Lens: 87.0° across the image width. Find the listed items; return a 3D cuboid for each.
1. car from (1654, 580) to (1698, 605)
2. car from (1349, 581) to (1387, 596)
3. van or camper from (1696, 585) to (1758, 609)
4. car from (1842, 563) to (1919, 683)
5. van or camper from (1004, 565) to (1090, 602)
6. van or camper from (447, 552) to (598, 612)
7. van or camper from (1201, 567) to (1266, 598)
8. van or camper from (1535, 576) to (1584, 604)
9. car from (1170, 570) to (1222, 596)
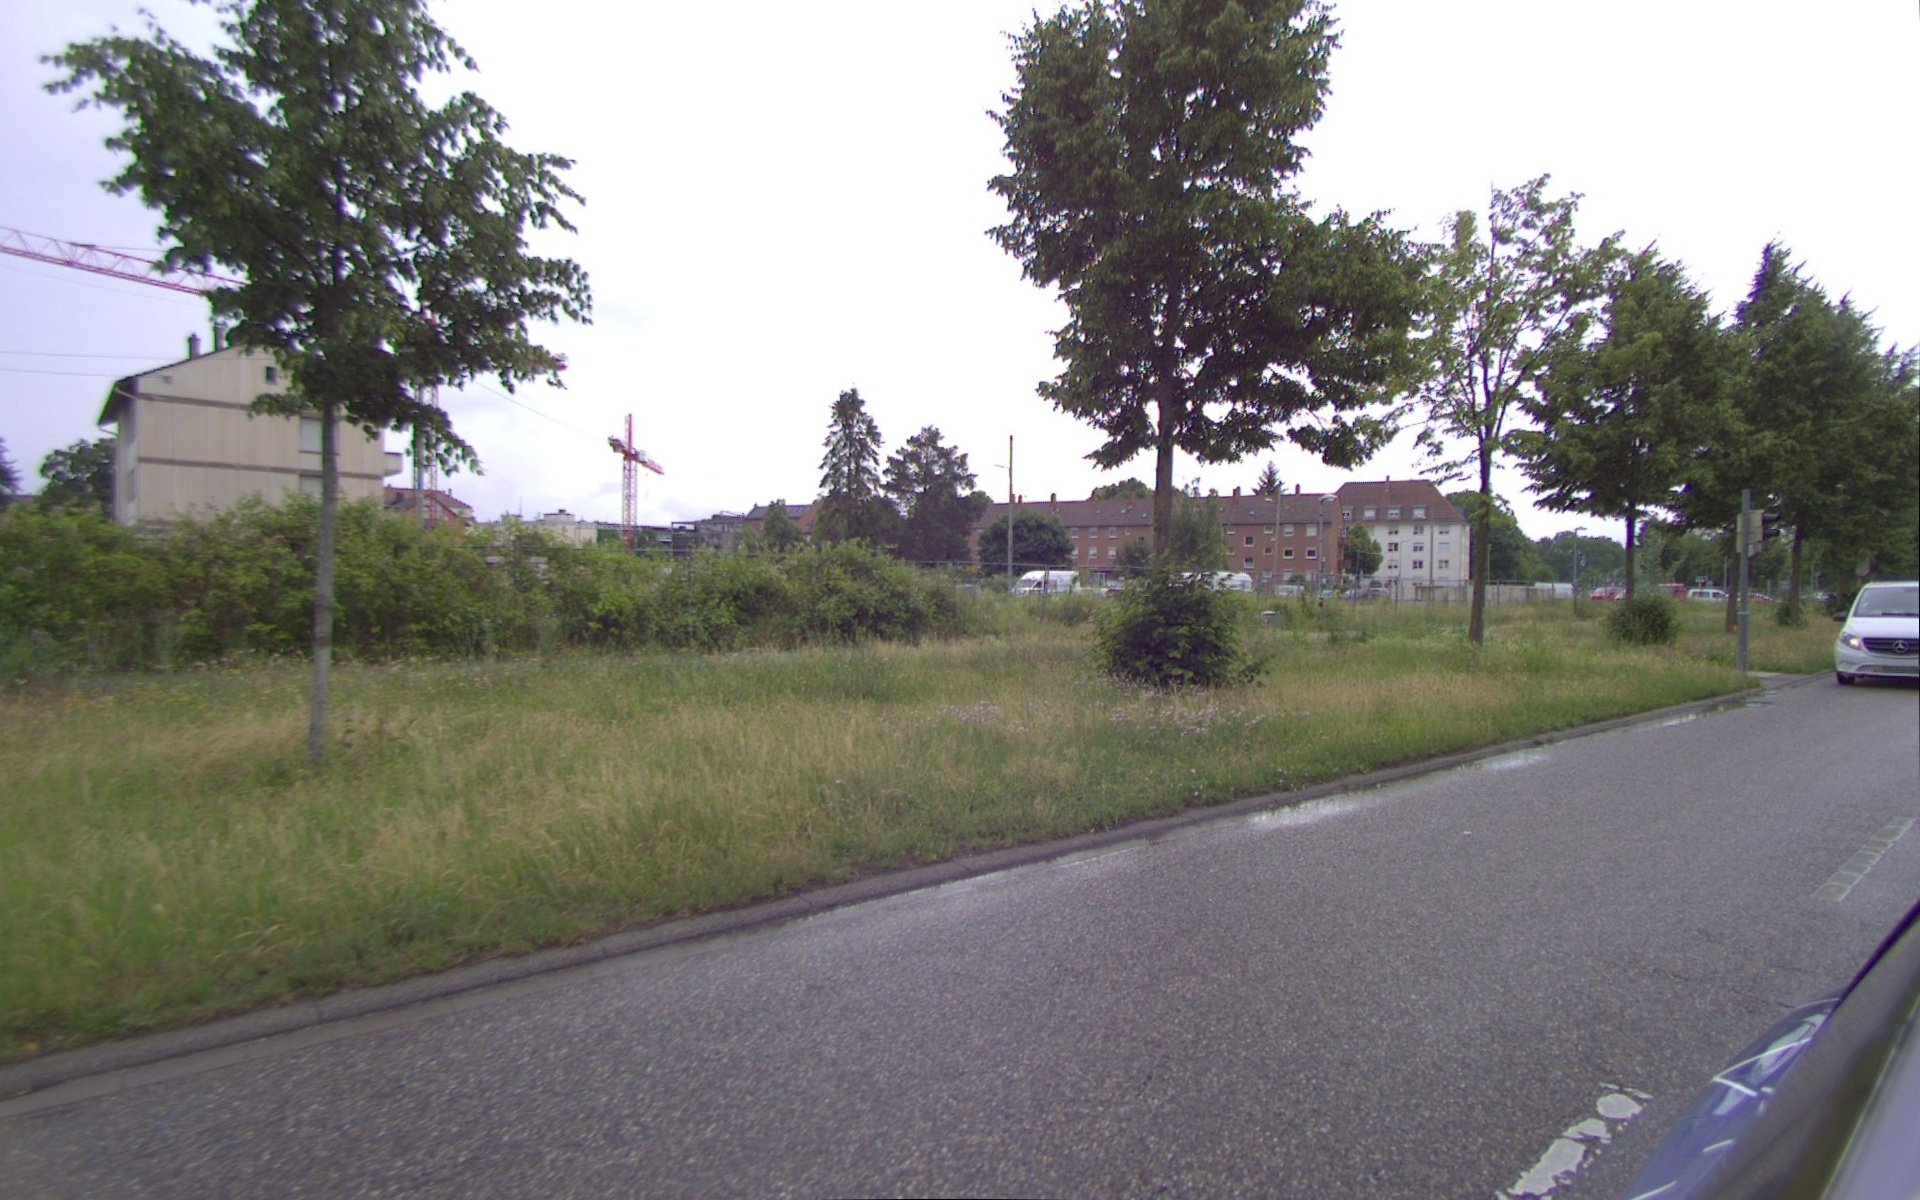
[{"bbox_3d":[70.686,-0.724,99.897,3.918,2.340,2.003,0,0,-28],"label":"car"},{"bbox_3d":[39.792,-1.076,98.594,1.992,1.405,4.499,-1,-1,42],"label":"car"},{"bbox_3d":[69.137,-0.279,91.289,4.322,2.039,1.831,1,0,44],"label":"van or camper"},{"bbox_3d":[17.957,0.358,18.592,5.003,2.004,1.971,-1,1,-41],"label":"car"},{"bbox_3d":[6.395,-1.180,74.153,6.311,2.568,2.779,0,0,-43],"label":"van or camper"},{"bbox_3d":[-21.042,-0.846,48.880,6.289,2.722,2.311,0,1,-43],"label":"van or camper"},{"bbox_3d":[21.779,-1.377,80.427,6.045,2.336,2.205,0,0,-43],"label":"van or camper"},{"bbox_3d":[67.272,-1.115,113.613,5.400,3.073,2.349,0,-1,-30],"label":"van or camper"},{"bbox_3d":[20.630,-1.445,88.515,4.681,2.248,2.273,0,0,-44],"label":"car"}]
